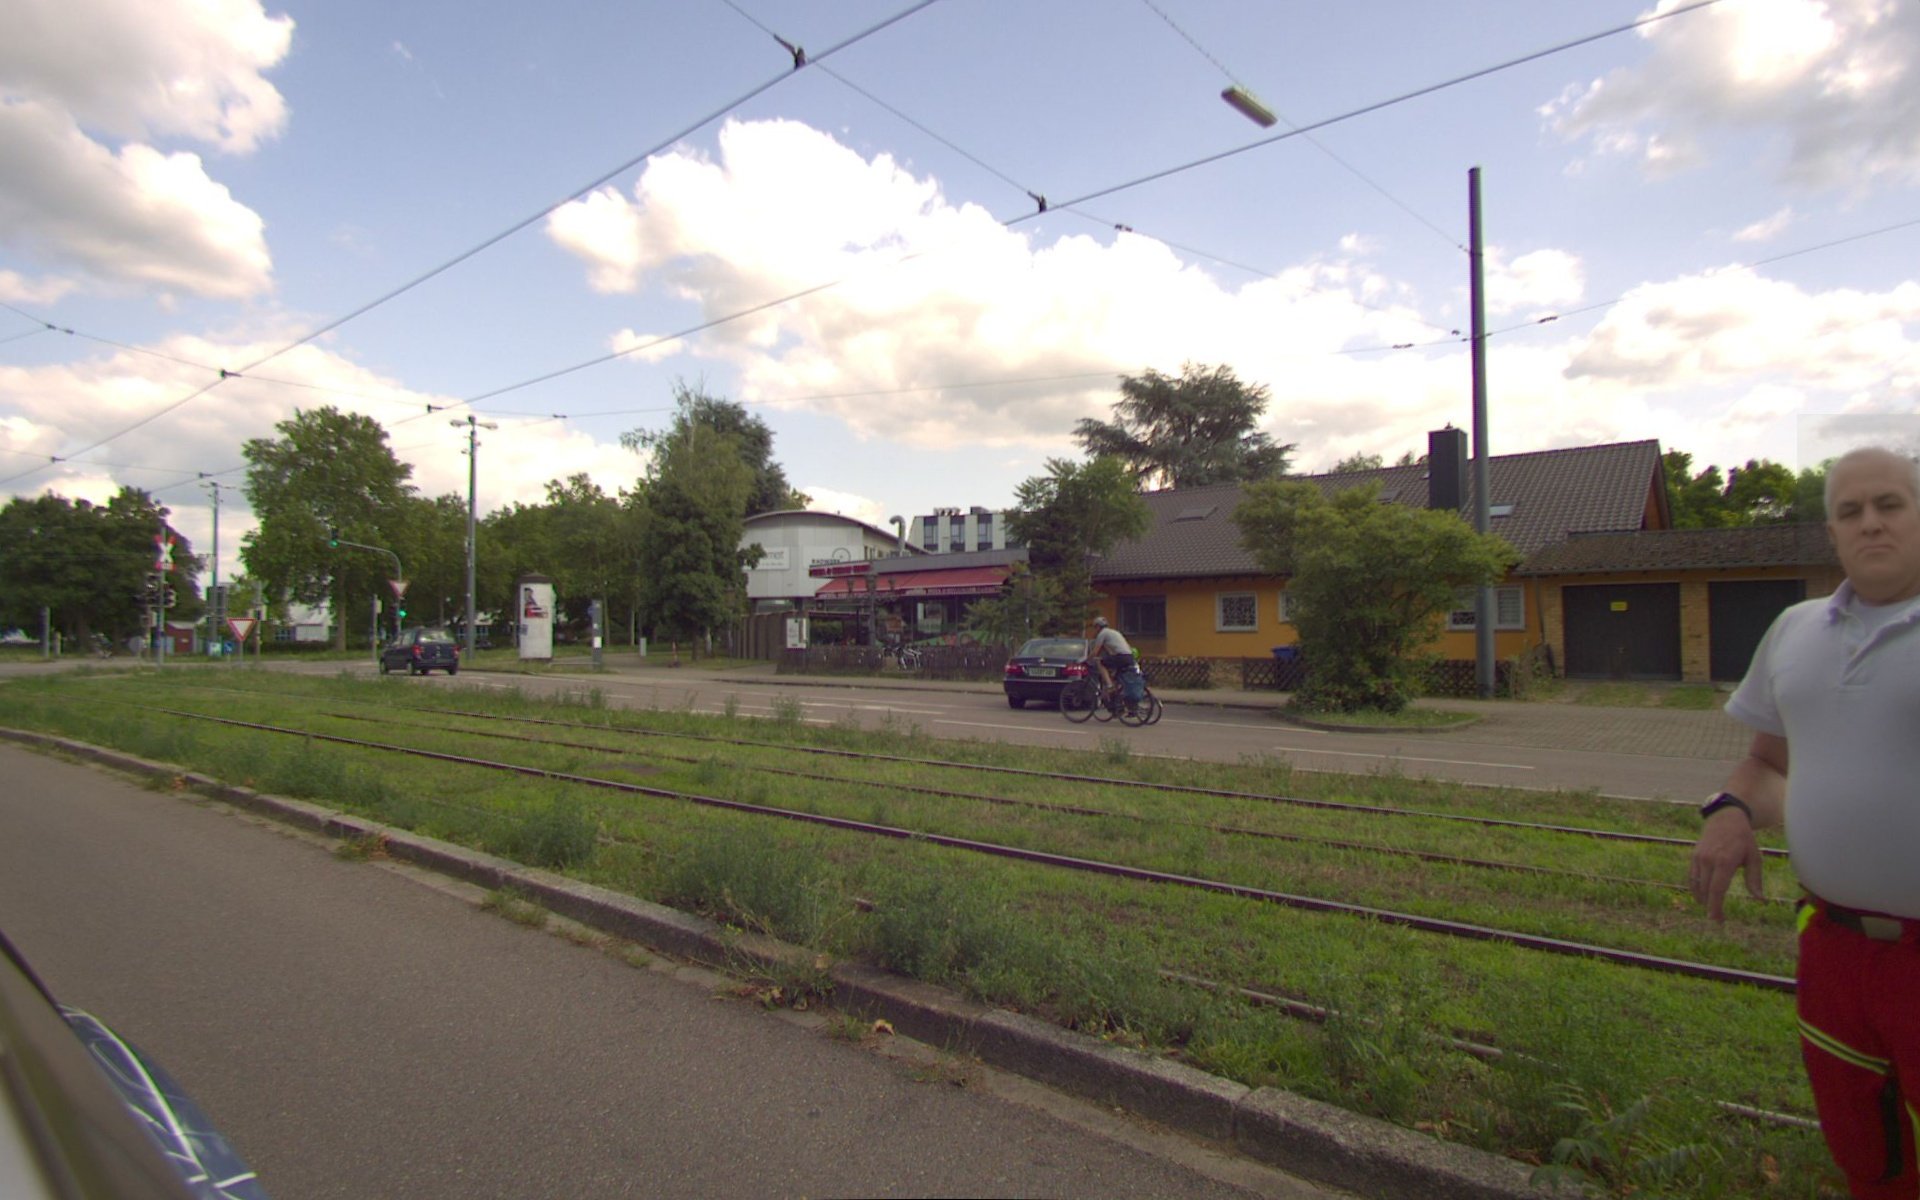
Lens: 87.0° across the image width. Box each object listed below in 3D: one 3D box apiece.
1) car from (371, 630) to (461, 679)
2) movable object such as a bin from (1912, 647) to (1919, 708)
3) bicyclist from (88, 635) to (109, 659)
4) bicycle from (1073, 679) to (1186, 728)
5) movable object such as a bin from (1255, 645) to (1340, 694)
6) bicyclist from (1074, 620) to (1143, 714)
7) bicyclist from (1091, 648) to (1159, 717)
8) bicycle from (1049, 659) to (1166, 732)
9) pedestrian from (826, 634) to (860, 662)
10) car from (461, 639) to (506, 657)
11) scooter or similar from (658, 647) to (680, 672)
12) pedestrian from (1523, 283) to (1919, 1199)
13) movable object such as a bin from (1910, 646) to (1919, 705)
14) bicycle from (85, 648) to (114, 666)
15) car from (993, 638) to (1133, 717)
[{"bbox_3d":[-19.458,1.896,36.143,3.495,1.639,1.759,-2,-2,43],"label":"car"},{"bbox_3d":[17.283,1.366,17.957,0.481,1.050,0.499,-3,-2,40],"label":"movable object such as a bin"},{"bbox_3d":[-55.549,3.046,65.277,0.829,1.481,0.796,-4,-3,30],"label":"bicyclist"},{"bbox_3d":[2.826,1.716,16.968,1.803,0.723,0.639,-2,-3,40],"label":"bicycle"},{"bbox_3d":[8.122,1.650,24.379,1.616,1.109,1.242,-2,-3,39],"label":"movable object such as a bin"},{"bbox_3d":[2.409,1.075,16.438,0.927,1.469,0.617,-2,-3,39],"label":"bicyclist"},{"bbox_3d":[2.777,1.371,17.025,0.928,1.121,0.632,-2,-3,41],"label":"bicyclist"},{"bbox_3d":[2.379,1.516,16.446,1.803,1.088,0.639,-2,-3,40],"label":"bicycle"},{"bbox_3d":[-5.031,2.056,43.616,0.931,1.155,1.141,-2,-3,41],"label":"pedestrian"},{"bbox_3d":[-40.100,4.027,85.248,1.678,1.535,3.850,0,-2,5],"label":"car"},{"bbox_3d":[-12.199,2.487,42.426,0.421,1.041,1.225,1,-3,-40],"label":"scooter or similar"},{"bbox_3d":[1.474,0.484,1.415,0.836,1.699,0.808,0,-1,-18],"label":"pedestrian"},{"bbox_3d":[17.637,1.361,18.383,0.479,1.050,0.488,-3,-2,40],"label":"movable object such as a bin"},{"bbox_3d":[-55.441,3.679,65.210,2.061,1.068,0.796,-4,-3,30],"label":"bicycle"},{"bbox_3d":[2.290,1.533,21.265,1.869,1.418,4.620,0,-2,20],"label":"car"}]
